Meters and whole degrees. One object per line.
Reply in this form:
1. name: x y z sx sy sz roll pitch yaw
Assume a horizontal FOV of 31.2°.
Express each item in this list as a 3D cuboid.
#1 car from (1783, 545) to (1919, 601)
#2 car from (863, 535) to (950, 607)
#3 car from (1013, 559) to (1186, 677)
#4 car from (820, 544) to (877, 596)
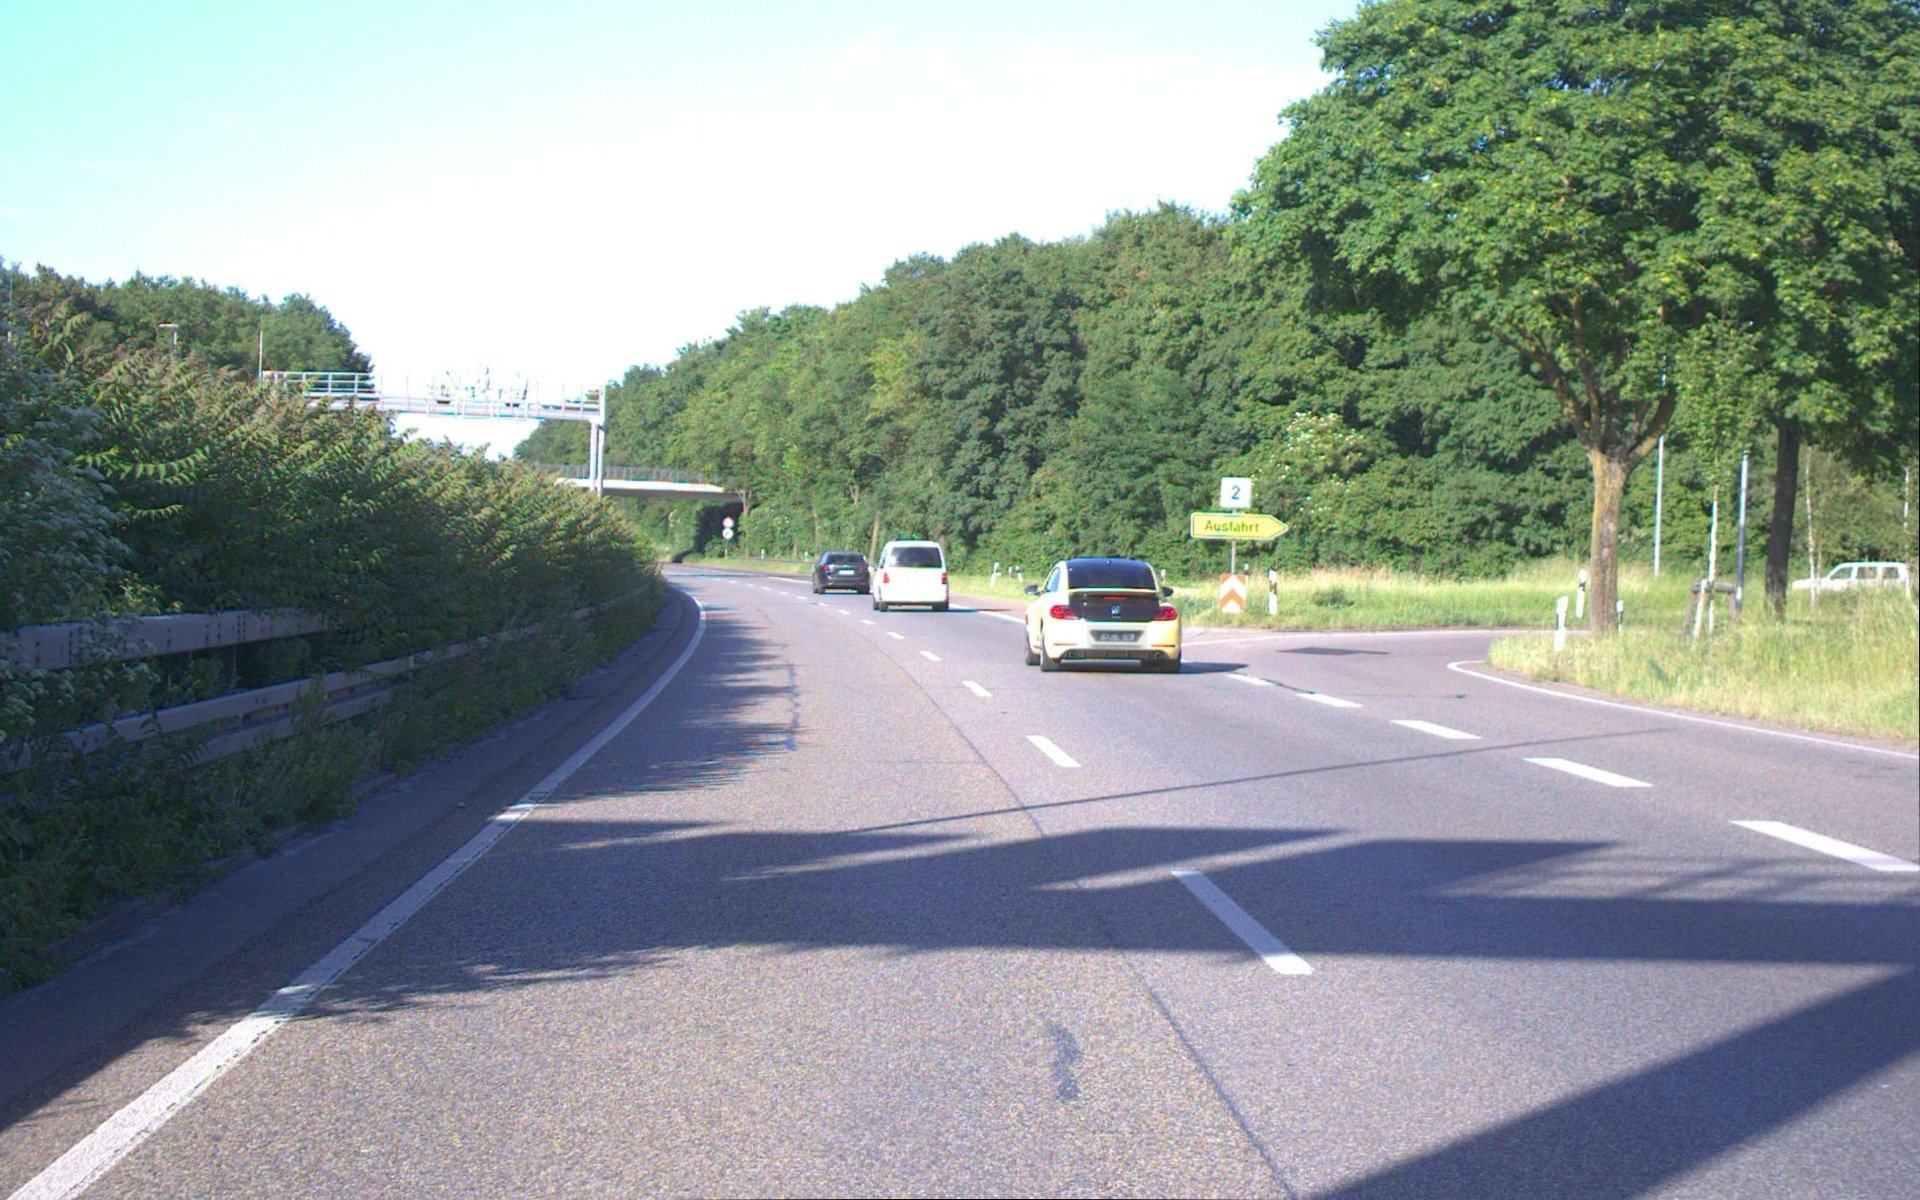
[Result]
1. car: 30.166 -0.916 116.436 3.996 1.817 1.899 1 1 41
2. car: -1.388 -0.732 87.757 1.897 1.761 4.001 1 0 -5
3. car: 1.780 0.203 45.083 1.897 1.466 4.000 1 1 -3
4. car: -3.892 -1.037 119.594 1.897 1.761 4.000 1 1 -2
